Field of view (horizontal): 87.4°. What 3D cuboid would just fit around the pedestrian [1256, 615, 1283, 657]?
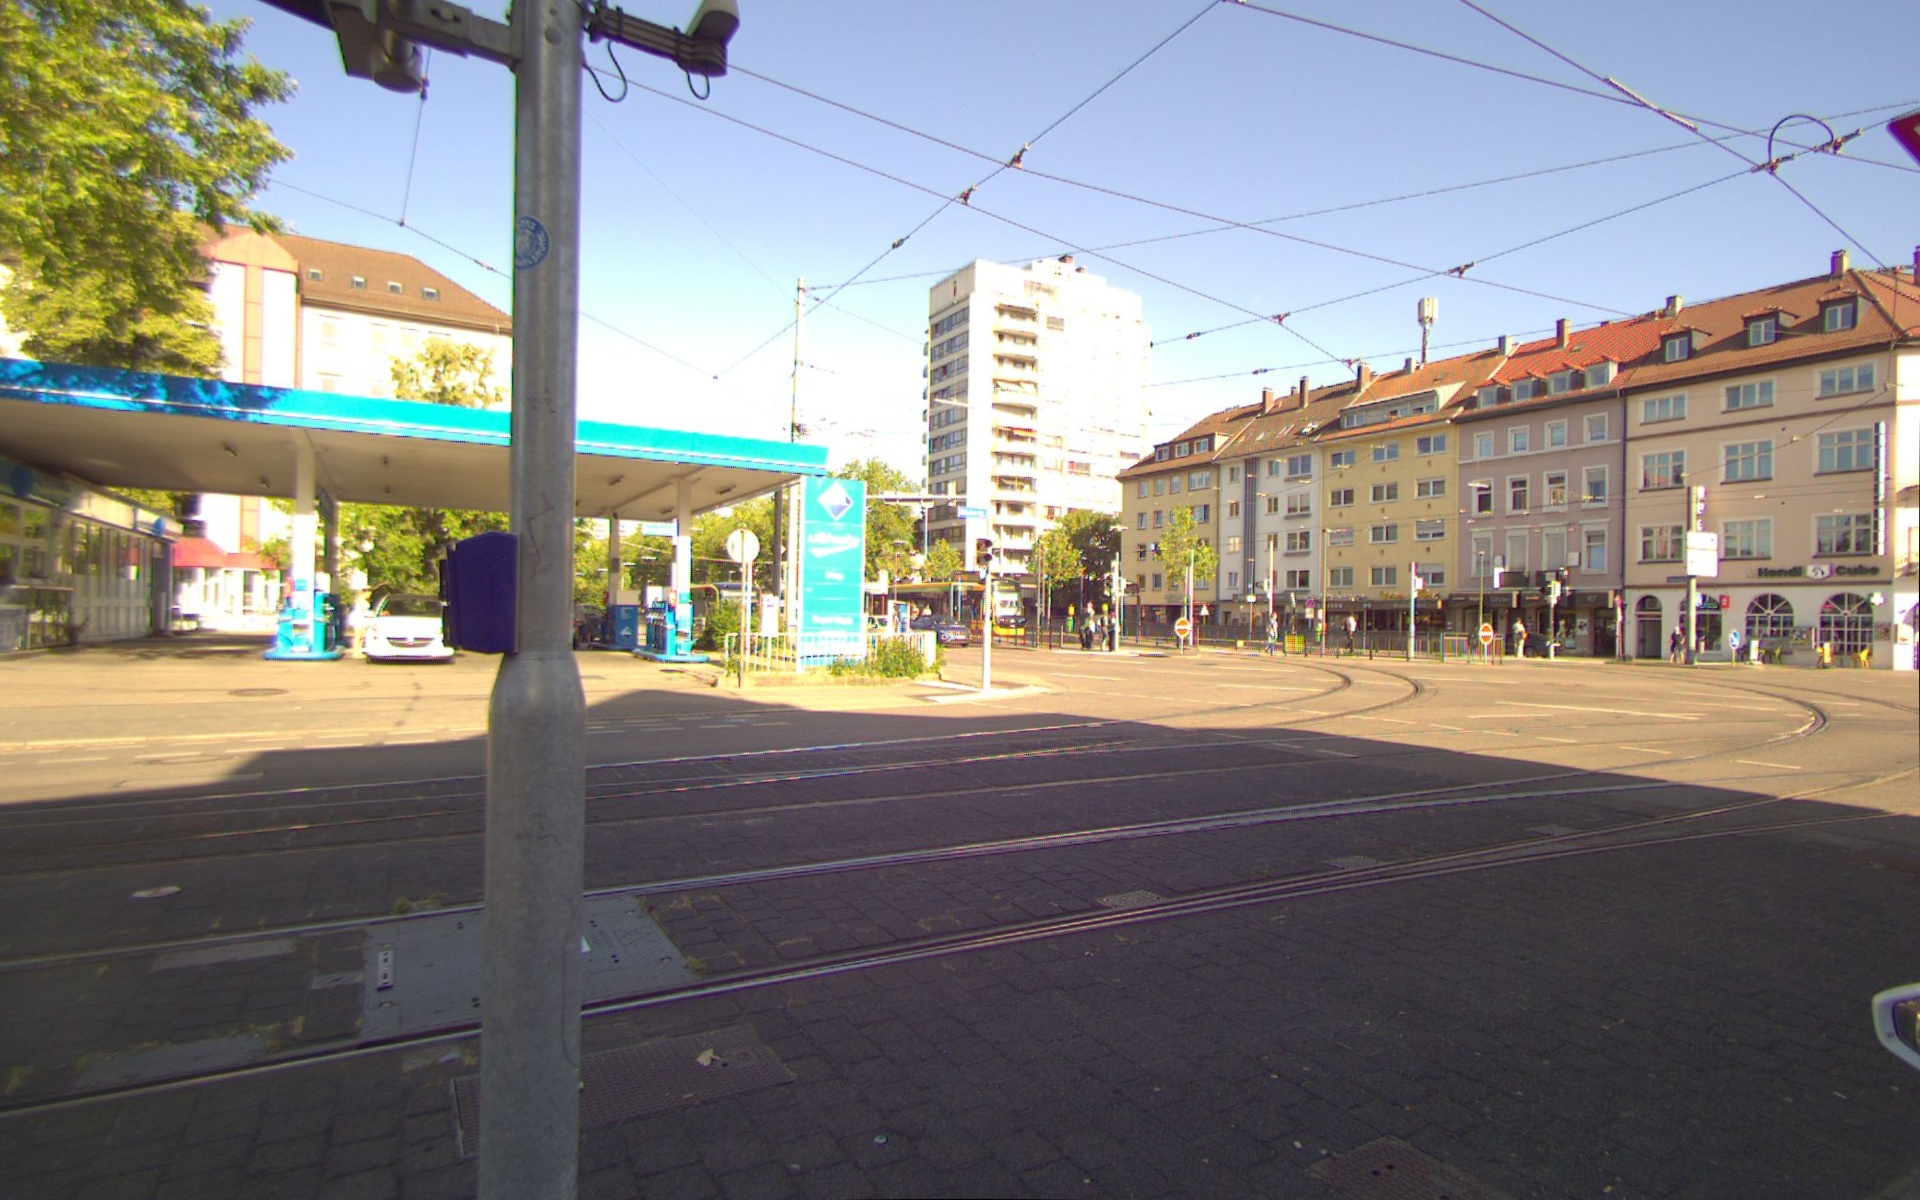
[{"bbox_3d":[11.975,1.383,38.841,0.817,1.598,0.552,2,0,-2],"label":"pedestrian"}]

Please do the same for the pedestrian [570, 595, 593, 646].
[{"bbox_3d":[-12.951,0.687,34.366,0.491,1.724,0.499,0,-1,33],"label":"pedestrian"}]

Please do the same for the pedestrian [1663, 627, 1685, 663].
[{"bbox_3d":[34.182,2.135,48.081,0.743,1.692,0.579,2,0,-30],"label":"pedestrian"}]

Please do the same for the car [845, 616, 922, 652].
[{"bbox_3d":[-3.590,1.552,46.740,1.871,1.550,3.963,1,-1,-33],"label":"car"}]

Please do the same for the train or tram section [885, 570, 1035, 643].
[{"bbox_3d":[-0.365,0.441,59.639,2.906,3.864,12.952,1,-1,-29],"label":"train or tram section"}]

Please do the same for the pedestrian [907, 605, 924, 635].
[{"bbox_3d":[-2.649,1.172,59.174,0.747,1.756,0.797,0,0,-28],"label":"pedestrian"}]

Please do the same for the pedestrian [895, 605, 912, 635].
[{"bbox_3d":[-3.291,1.182,58.972,0.747,1.756,0.797,0,0,-28],"label":"pedestrian"}]

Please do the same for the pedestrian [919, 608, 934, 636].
[{"bbox_3d":[-1.956,1.269,58.311,0.607,1.598,0.827,0,0,-27],"label":"pedestrian"}]

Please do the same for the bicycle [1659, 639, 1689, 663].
[{"bbox_3d":[34.188,2.431,48.088,1.479,1.091,0.570,2,0,-30],"label":"bicycle"}]

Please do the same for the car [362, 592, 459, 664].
[{"bbox_3d":[-12.201,0.601,22.353,1.737,1.461,3.543,1,-1,-29],"label":"car"}]

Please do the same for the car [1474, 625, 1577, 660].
[{"bbox_3d":[30.823,2.294,54.845,2.277,1.734,4.350,2,0,-27],"label":"car"}]

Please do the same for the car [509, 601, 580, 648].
[{"bbox_3d":[-13.551,0.781,32.679,1.737,1.461,3.543,1,-1,-29],"label":"car"}]

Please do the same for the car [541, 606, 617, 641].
[{"bbox_3d":[-16.863,1.039,44.605,1.722,1.461,3.572,1,-1,5],"label":"car"}]

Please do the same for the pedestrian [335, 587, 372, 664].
[{"bbox_3d":[-13.899,0.588,23.034,0.640,1.724,0.497,1,-1,-26],"label":"pedestrian"}]

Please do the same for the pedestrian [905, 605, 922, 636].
[{"bbox_3d":[-2.678,1.179,57.874,0.747,1.756,0.797,0,0,-28],"label":"pedestrian"}]

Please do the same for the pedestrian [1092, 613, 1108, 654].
[{"bbox_3d":[5.853,1.392,41.967,0.626,1.666,0.462,0,0,6],"label":"pedestrian"}]

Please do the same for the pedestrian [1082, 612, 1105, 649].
[{"bbox_3d":[5.853,1.336,44.173,0.867,1.598,0.665,2,0,-2],"label":"pedestrian"}]

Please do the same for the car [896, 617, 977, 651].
[{"bbox_3d":[-1.163,1.616,48.369,1.875,1.550,3.955,1,-2,-39],"label":"car"}]

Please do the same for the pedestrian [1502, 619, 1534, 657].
[{"bbox_3d":[24.441,1.671,44.012,0.821,1.598,0.847,2,0,-20],"label":"pedestrian"}]

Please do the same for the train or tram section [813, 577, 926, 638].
[{"bbox_3d":[-6.661,0.544,70.778,2.907,3.864,12.719,1,-1,-30],"label":"train or tram section"}]

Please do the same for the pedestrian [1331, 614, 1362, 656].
[{"bbox_3d":[15.024,1.365,39.102,0.821,1.598,0.724,2,0,-20],"label":"pedestrian"}]

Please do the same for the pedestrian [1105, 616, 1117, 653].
[{"bbox_3d":[6.150,1.405,40.968,0.472,1.525,0.462,0,0,6],"label":"pedestrian"}]

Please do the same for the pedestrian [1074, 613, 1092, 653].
[{"bbox_3d":[5.245,1.401,42.754,0.549,1.702,0.760,0,-1,26],"label":"pedestrian"}]
